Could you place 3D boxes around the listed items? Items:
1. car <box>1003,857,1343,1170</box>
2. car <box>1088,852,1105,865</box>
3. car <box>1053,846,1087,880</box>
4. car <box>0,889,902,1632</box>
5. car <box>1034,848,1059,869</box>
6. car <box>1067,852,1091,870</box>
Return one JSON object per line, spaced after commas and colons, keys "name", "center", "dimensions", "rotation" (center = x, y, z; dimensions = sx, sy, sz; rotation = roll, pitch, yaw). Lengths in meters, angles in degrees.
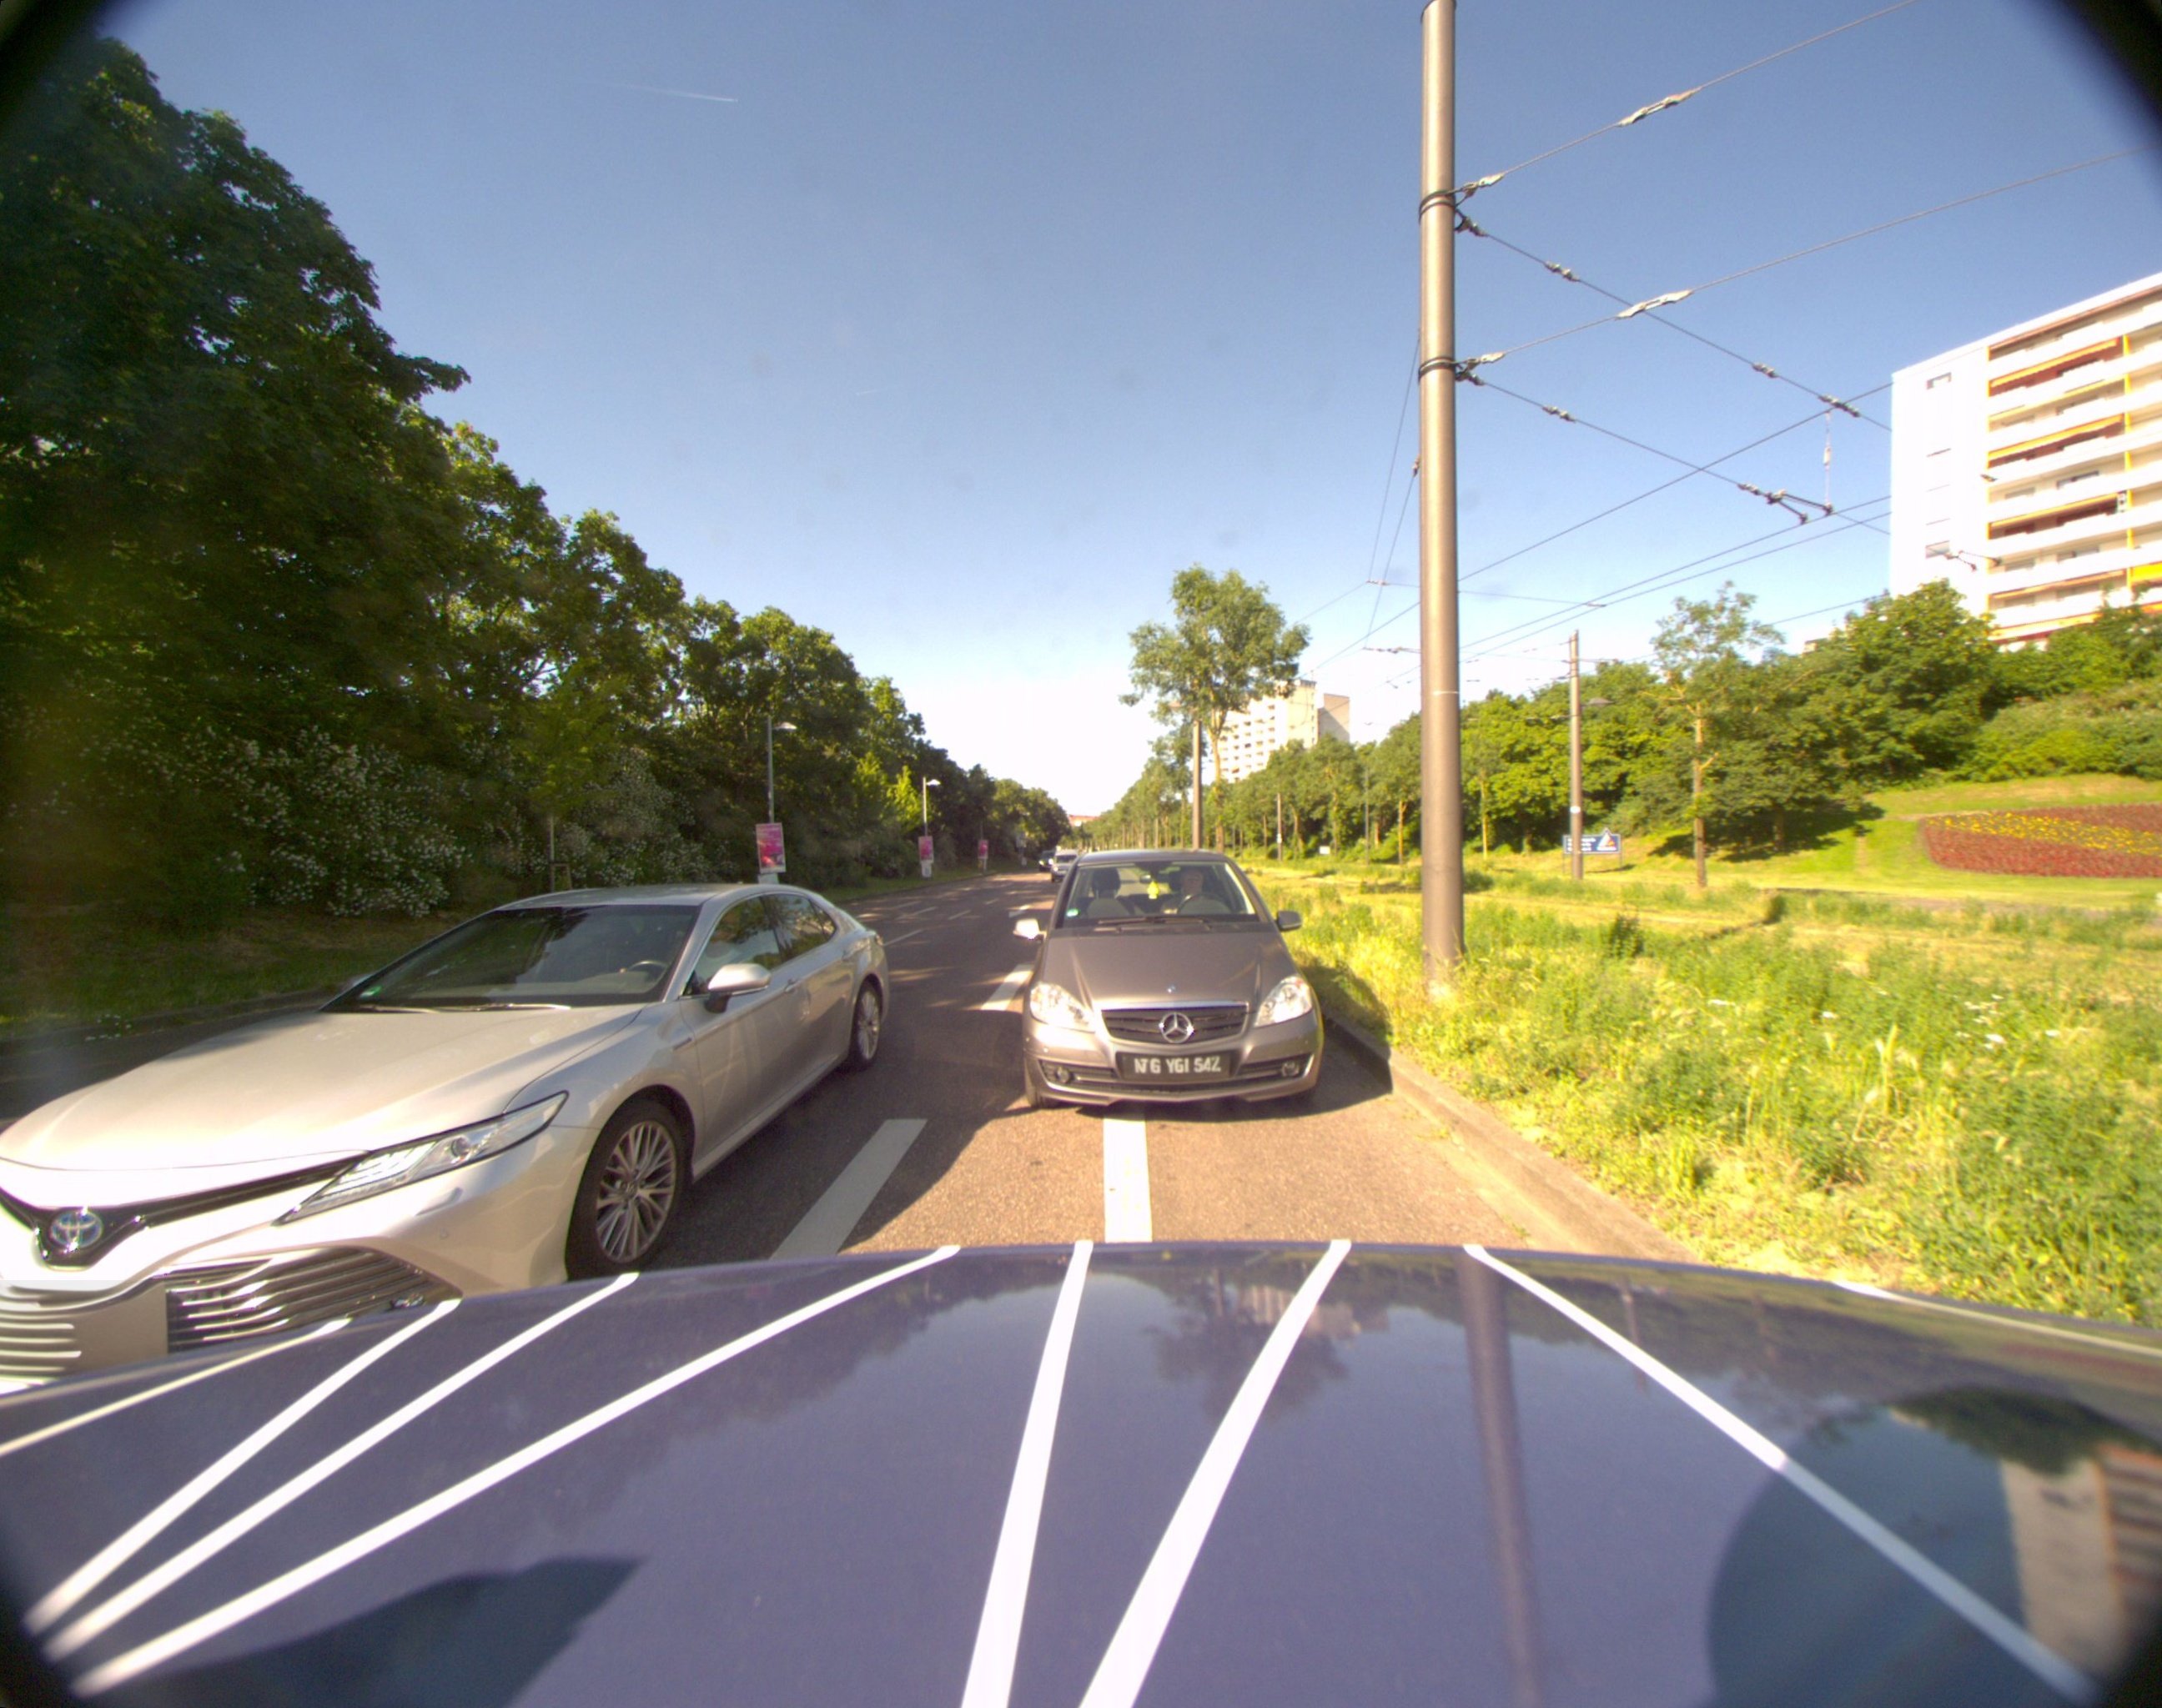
{"name": "car", "center": [0.516, 0.855, 6.202], "dimensions": [1.777, 1.597, 4.384], "rotation": [-1, 0, 1]}
{"name": "car", "center": [1.718, 0.496, 83.787], "dimensions": [1.776, 1.395, 4.067], "rotation": [-1, 0, 2]}
{"name": "car", "center": [-0.612, 0.514, 45.289], "dimensions": [1.822, 1.893, 4.622], "rotation": [-1, 0, 2]}
{"name": "car", "center": [-2.644, 1.048, 4.118], "dimensions": [2.069, 1.451, 4.749], "rotation": [-1, 0, 2]}
{"name": "car", "center": [-3.169, 0.362, 70.904], "dimensions": [1.998, 1.882, 5.148], "rotation": [-1, 0, 1]}
{"name": "car", "center": [-0.156, 0.556, 61.854], "dimensions": [1.776, 1.395, 4.067], "rotation": [-1, 0, 2]}
